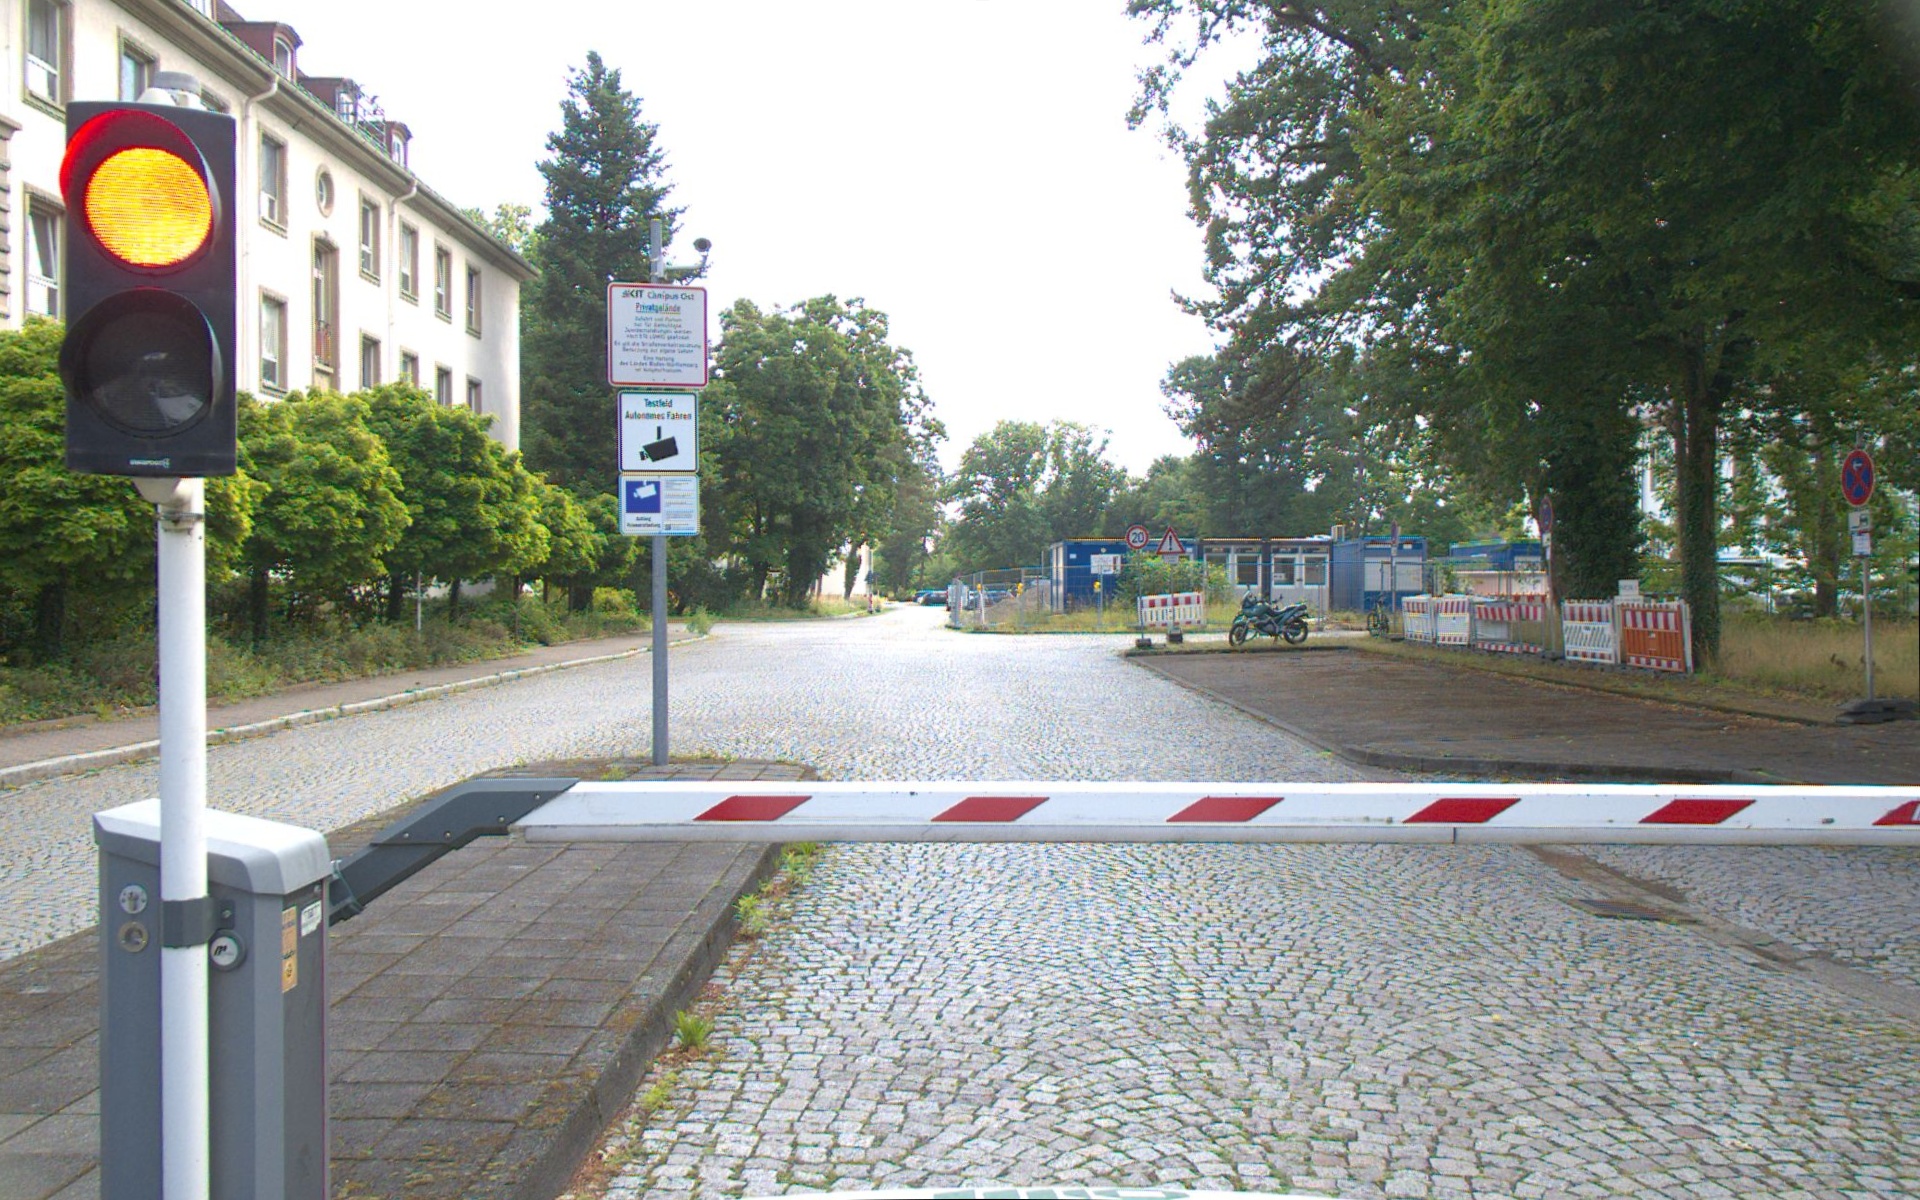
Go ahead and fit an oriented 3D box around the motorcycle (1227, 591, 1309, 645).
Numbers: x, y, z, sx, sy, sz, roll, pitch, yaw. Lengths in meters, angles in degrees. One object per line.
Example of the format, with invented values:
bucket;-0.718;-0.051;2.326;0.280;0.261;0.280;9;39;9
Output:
motorcycle;7.566;0.441;40.652;1.917;1.215;0.461;-2;5;-2

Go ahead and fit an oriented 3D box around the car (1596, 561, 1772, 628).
car;20.528;-0.157;47.028;4.132;1.852;2.000;0;-1;2

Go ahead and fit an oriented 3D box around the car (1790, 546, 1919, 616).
car;28.154;-0.582;51.673;1.953;2.049;4.839;0;0;-1

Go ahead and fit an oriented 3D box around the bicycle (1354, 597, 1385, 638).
bicycle;10.456;0.458;42.247;0.325;1.025;1.725;-1;-2;-1

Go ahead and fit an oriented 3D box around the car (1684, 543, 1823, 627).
car;24.350;-0.417;51.004;1.952;2.466;5.358;0;0;3

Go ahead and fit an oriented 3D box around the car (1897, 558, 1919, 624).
car;26.264;-0.242;41.228;1.971;1.679;4.795;0;-1;-28
